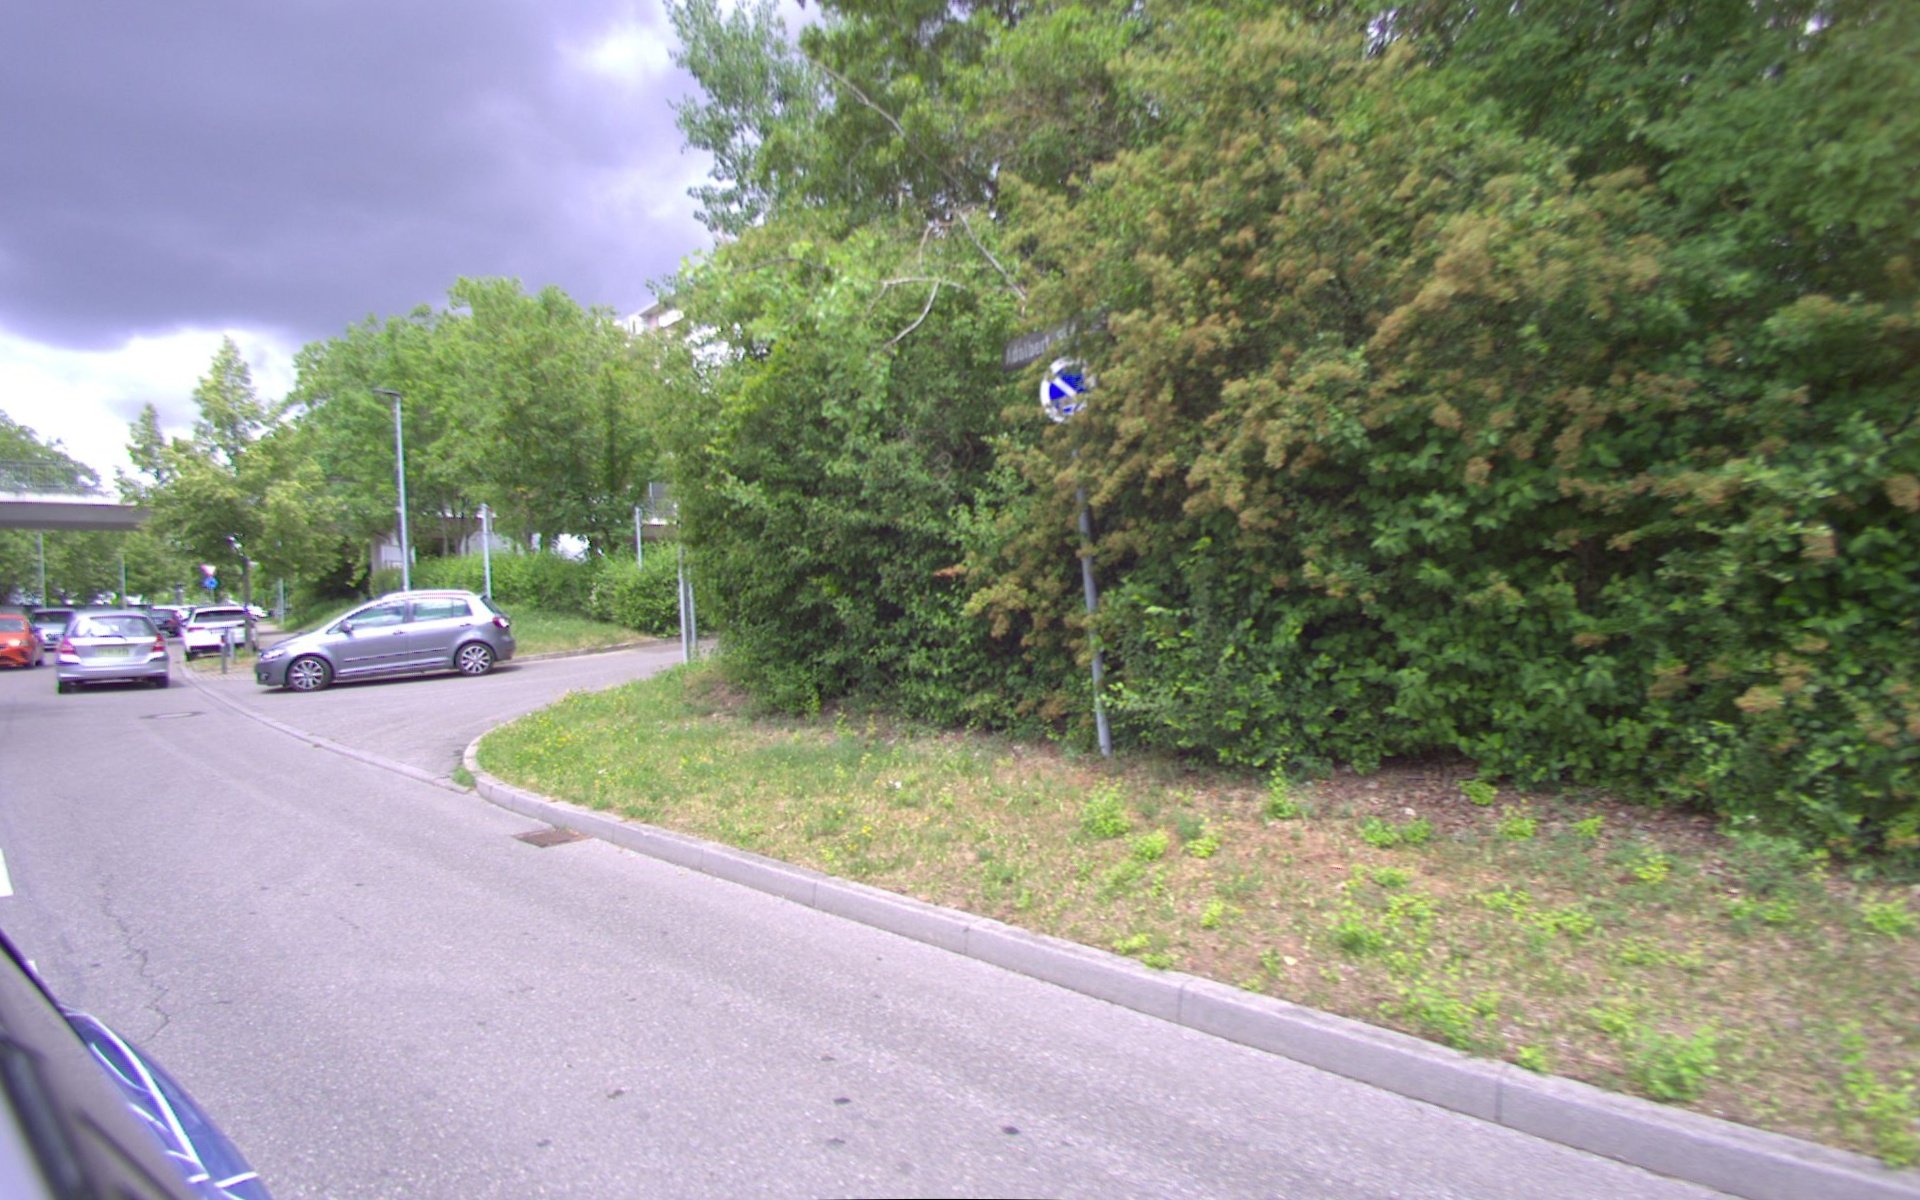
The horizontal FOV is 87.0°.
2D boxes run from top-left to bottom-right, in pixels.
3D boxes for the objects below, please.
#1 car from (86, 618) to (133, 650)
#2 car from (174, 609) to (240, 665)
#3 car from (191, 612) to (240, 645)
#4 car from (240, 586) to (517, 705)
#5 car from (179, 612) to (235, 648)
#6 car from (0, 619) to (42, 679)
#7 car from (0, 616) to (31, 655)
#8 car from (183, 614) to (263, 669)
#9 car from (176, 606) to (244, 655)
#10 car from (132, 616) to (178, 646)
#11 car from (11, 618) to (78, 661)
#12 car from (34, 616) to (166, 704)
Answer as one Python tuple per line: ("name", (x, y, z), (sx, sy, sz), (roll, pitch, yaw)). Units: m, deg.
("car", (-44.938, 1.776, 53.469), (1.754, 1.430, 4.006), (-4, 3, -40))
("car", (-24.833, 1.178, 33.425), (1.573, 1.596, 2.691), (-6, 3, -36))
("car", (-38.273, 1.427, 52.095), (1.784, 1.582, 3.732), (-1, 0, -33))
("car", (-10.370, 0.728, 18.307), (4.050, 1.674, 1.763), (-5, 3, -30))
("car", (-35.191, 1.379, 47.372), (1.784, 1.466, 3.871), (-5, 2, -33))
("car", (-25.185, 1.271, 26.148), (1.833, 1.453, 4.008), (-2, 0, -38))
("car", (-41.551, 1.522, 43.804), (1.580, 1.554, 3.730), (-1, 0, -37))
("car", (-21.663, 1.160, 29.717), (1.785, 1.415, 4.057), (-1, 0, -37))
("car", (-27.354, 1.067, 36.883), (1.785, 1.596, 3.993), (-4, 2, -38))
("car", (-40.896, 1.529, 51.461), (1.729, 1.430, 4.377), (0, -1, -37))
("car", (-34.376, 1.438, 38.070), (1.754, 1.463, 4.006), (-1, 0, -41))
("car", (-16.722, 1.082, 19.762), (1.818, 1.467, 3.659), (-1, 0, -40))
